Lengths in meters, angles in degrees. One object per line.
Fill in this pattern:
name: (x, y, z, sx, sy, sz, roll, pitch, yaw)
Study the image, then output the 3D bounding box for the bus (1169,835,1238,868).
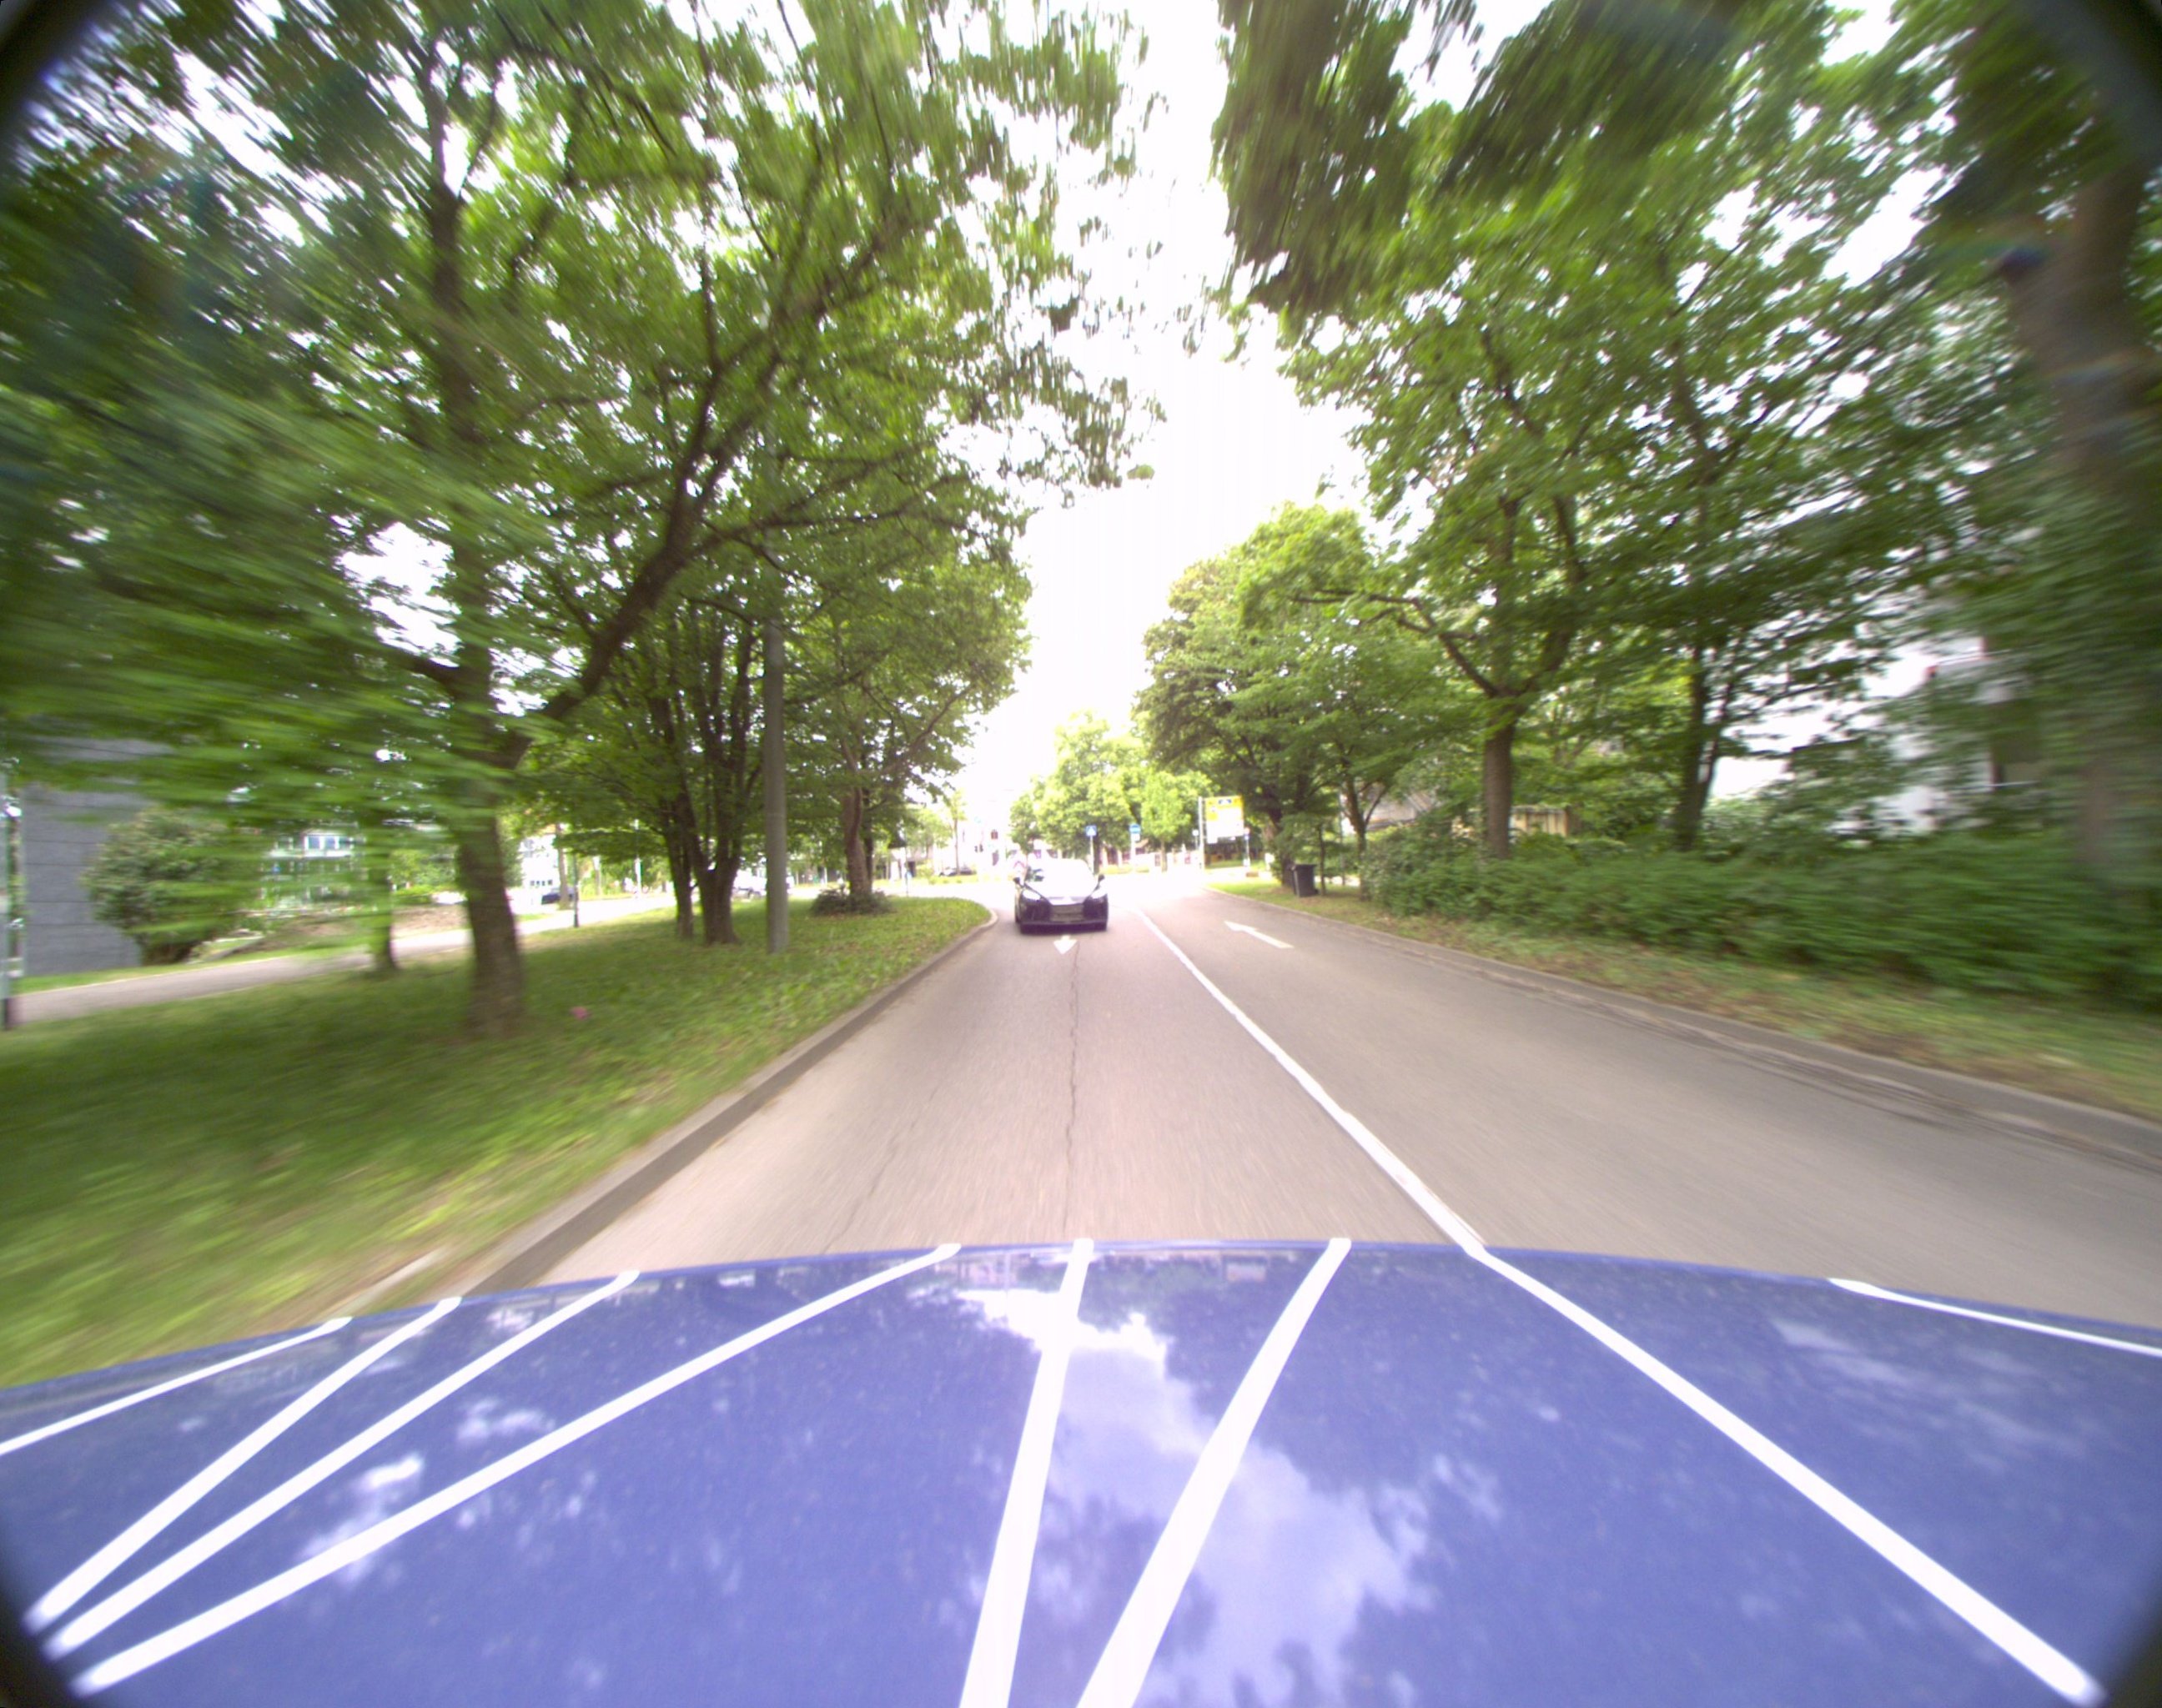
bus: (13.959, -0.327, 86.160, 8.444, 2.991, 3.046, -4, -1, -45)

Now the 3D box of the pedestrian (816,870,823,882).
pedestrian: (-31.816, 2.694, 92.316, 0.536, 1.349, 0.657, -5, 0, -34)

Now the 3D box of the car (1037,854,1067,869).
car: (-4.216, 1.038, 110.110, 1.995, 1.805, 4.007, -6, -1, 40)

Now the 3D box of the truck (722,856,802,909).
truck: (-21.048, 1.848, 49.985, 6.448, 3.176, 2.442, -2, 1, 45)

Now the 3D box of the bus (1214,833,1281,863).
bus: (20.370, -0.814, 92.568, 9.713, 2.991, 3.046, -4, -1, -45)

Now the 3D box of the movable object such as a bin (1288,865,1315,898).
movable object such as a bin: (6.071, 0.759, 20.906, 0.599, 0.840, 0.579, -5, 0, 21)

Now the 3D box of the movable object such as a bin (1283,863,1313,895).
movable object such as a bin: (6.462, 0.746, 22.611, 0.729, 0.858, 0.623, -5, 0, 21)

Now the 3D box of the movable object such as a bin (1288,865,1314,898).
movable object such as a bin: (6.205, 0.762, 21.408, 0.599, 0.861, 0.579, -5, 0, 21)

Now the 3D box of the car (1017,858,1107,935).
car: (-0.469, 0.900, 17.899, 1.800, 1.475, 4.018, -3, 0, -2)

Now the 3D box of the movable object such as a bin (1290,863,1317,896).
movable object such as a bin: (6.445, 0.745, 21.974, 0.619, 0.874, 0.593, -5, 0, 21)

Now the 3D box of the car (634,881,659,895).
car: (-61.107, 4.817, 106.849, 3.819, 1.630, 1.880, -6, -1, 42)
